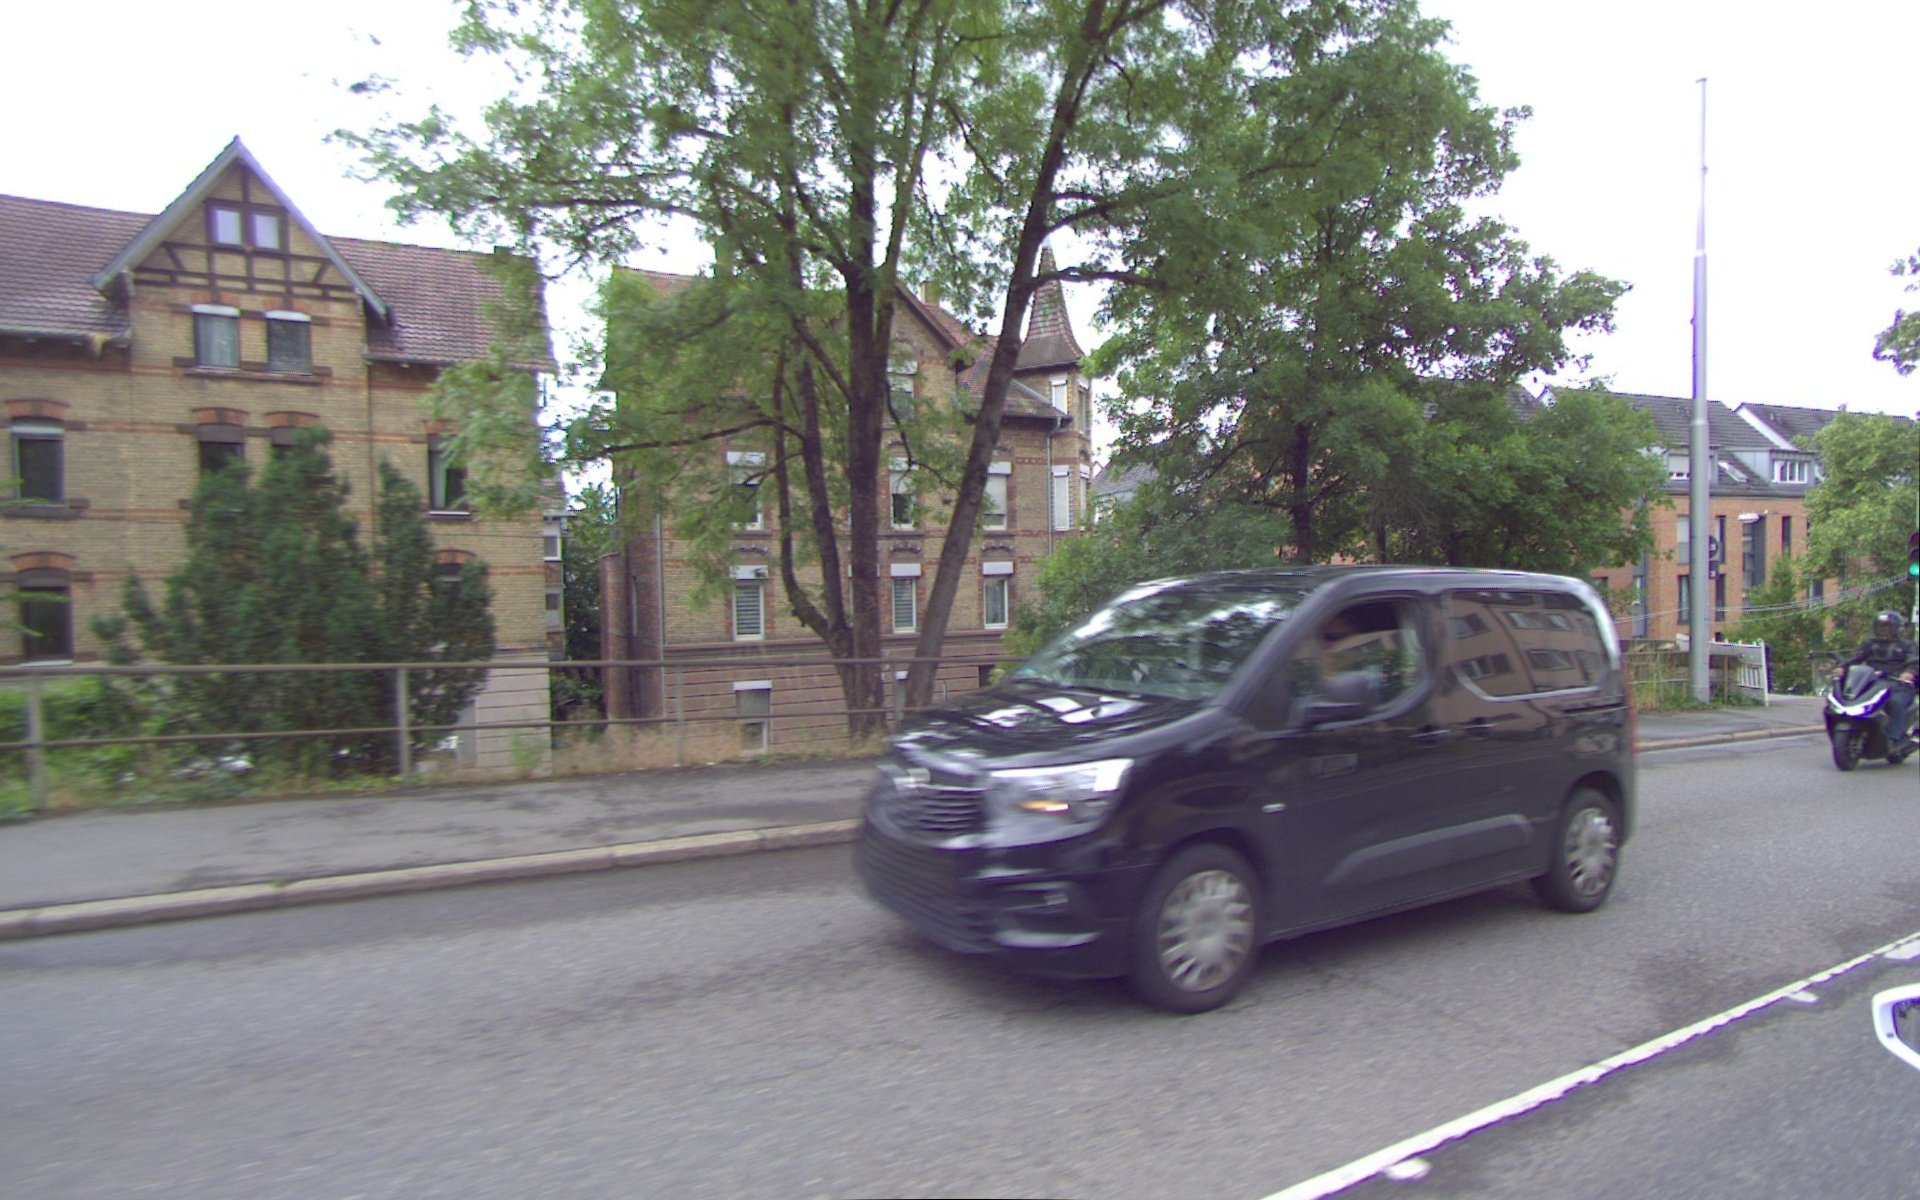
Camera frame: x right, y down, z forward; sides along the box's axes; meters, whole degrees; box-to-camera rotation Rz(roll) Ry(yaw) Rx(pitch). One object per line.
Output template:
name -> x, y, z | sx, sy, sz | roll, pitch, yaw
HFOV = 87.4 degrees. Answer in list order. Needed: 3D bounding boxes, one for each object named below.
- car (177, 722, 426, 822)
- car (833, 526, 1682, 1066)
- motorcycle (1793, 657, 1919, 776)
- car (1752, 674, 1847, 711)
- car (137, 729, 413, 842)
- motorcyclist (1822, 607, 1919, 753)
car -> -13.187, 3.415, 20.417 | 3.943, 1.530, 1.790 | 0, 0, -24
car -> 1.712, 0.694, 5.213 | 4.379, 1.769, 1.774 | 1, -1, -32
motorcycle -> 10.081, 1.228, 11.051 | 2.033, 1.160, 0.781 | 1, -1, -31
car -> 39.014, 4.280, 46.683 | 3.942, 1.530, 1.791 | 1, -2, -22
car -> -12.526, 3.358, 18.691 | 3.943, 1.530, 1.790 | 0, 0, -24
motorcyclist -> 10.133, 0.851, 11.084 | 0.660, 1.536, 0.781 | 1, -1, -30
